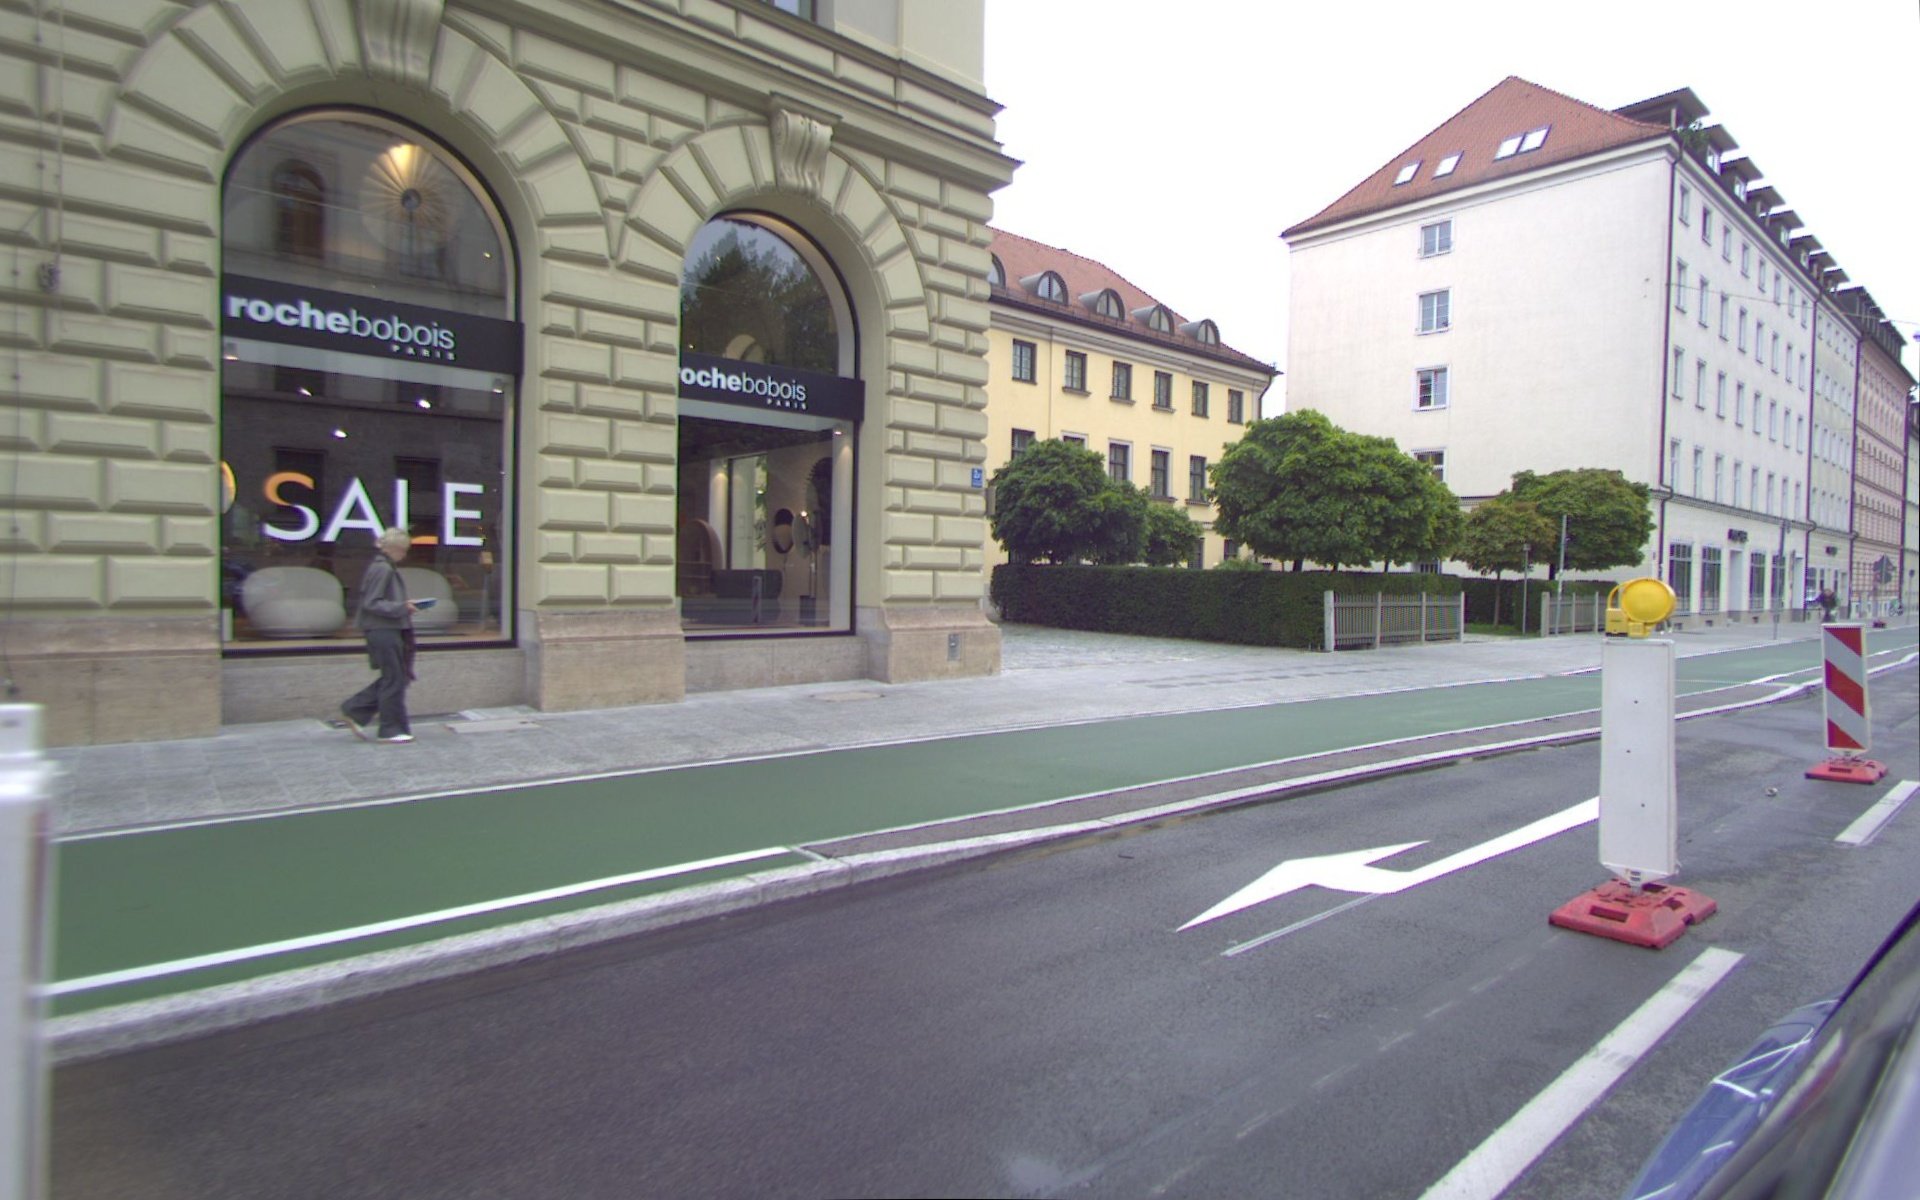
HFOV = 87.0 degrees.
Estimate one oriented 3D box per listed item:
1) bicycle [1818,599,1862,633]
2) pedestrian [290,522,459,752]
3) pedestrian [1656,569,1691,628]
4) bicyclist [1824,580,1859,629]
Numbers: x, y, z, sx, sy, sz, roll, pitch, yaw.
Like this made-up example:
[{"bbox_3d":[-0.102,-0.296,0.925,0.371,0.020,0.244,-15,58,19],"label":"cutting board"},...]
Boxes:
[{"bbox_3d":[28.560,0.500,32.837,2.487,1.045,0.750,0,1,-41],"label":"bicycle"},{"bbox_3d":[-4.710,0.261,8.152,1.067,1.725,0.633,0,2,-41],"label":"pedestrian"},{"bbox_3d":[23.261,-0.053,32.985,0.811,1.897,0.655,0,3,-41],"label":"pedestrian"},{"bbox_3d":[28.736,0.137,32.989,0.843,1.572,0.723,0,0,-41],"label":"bicyclist"}]
